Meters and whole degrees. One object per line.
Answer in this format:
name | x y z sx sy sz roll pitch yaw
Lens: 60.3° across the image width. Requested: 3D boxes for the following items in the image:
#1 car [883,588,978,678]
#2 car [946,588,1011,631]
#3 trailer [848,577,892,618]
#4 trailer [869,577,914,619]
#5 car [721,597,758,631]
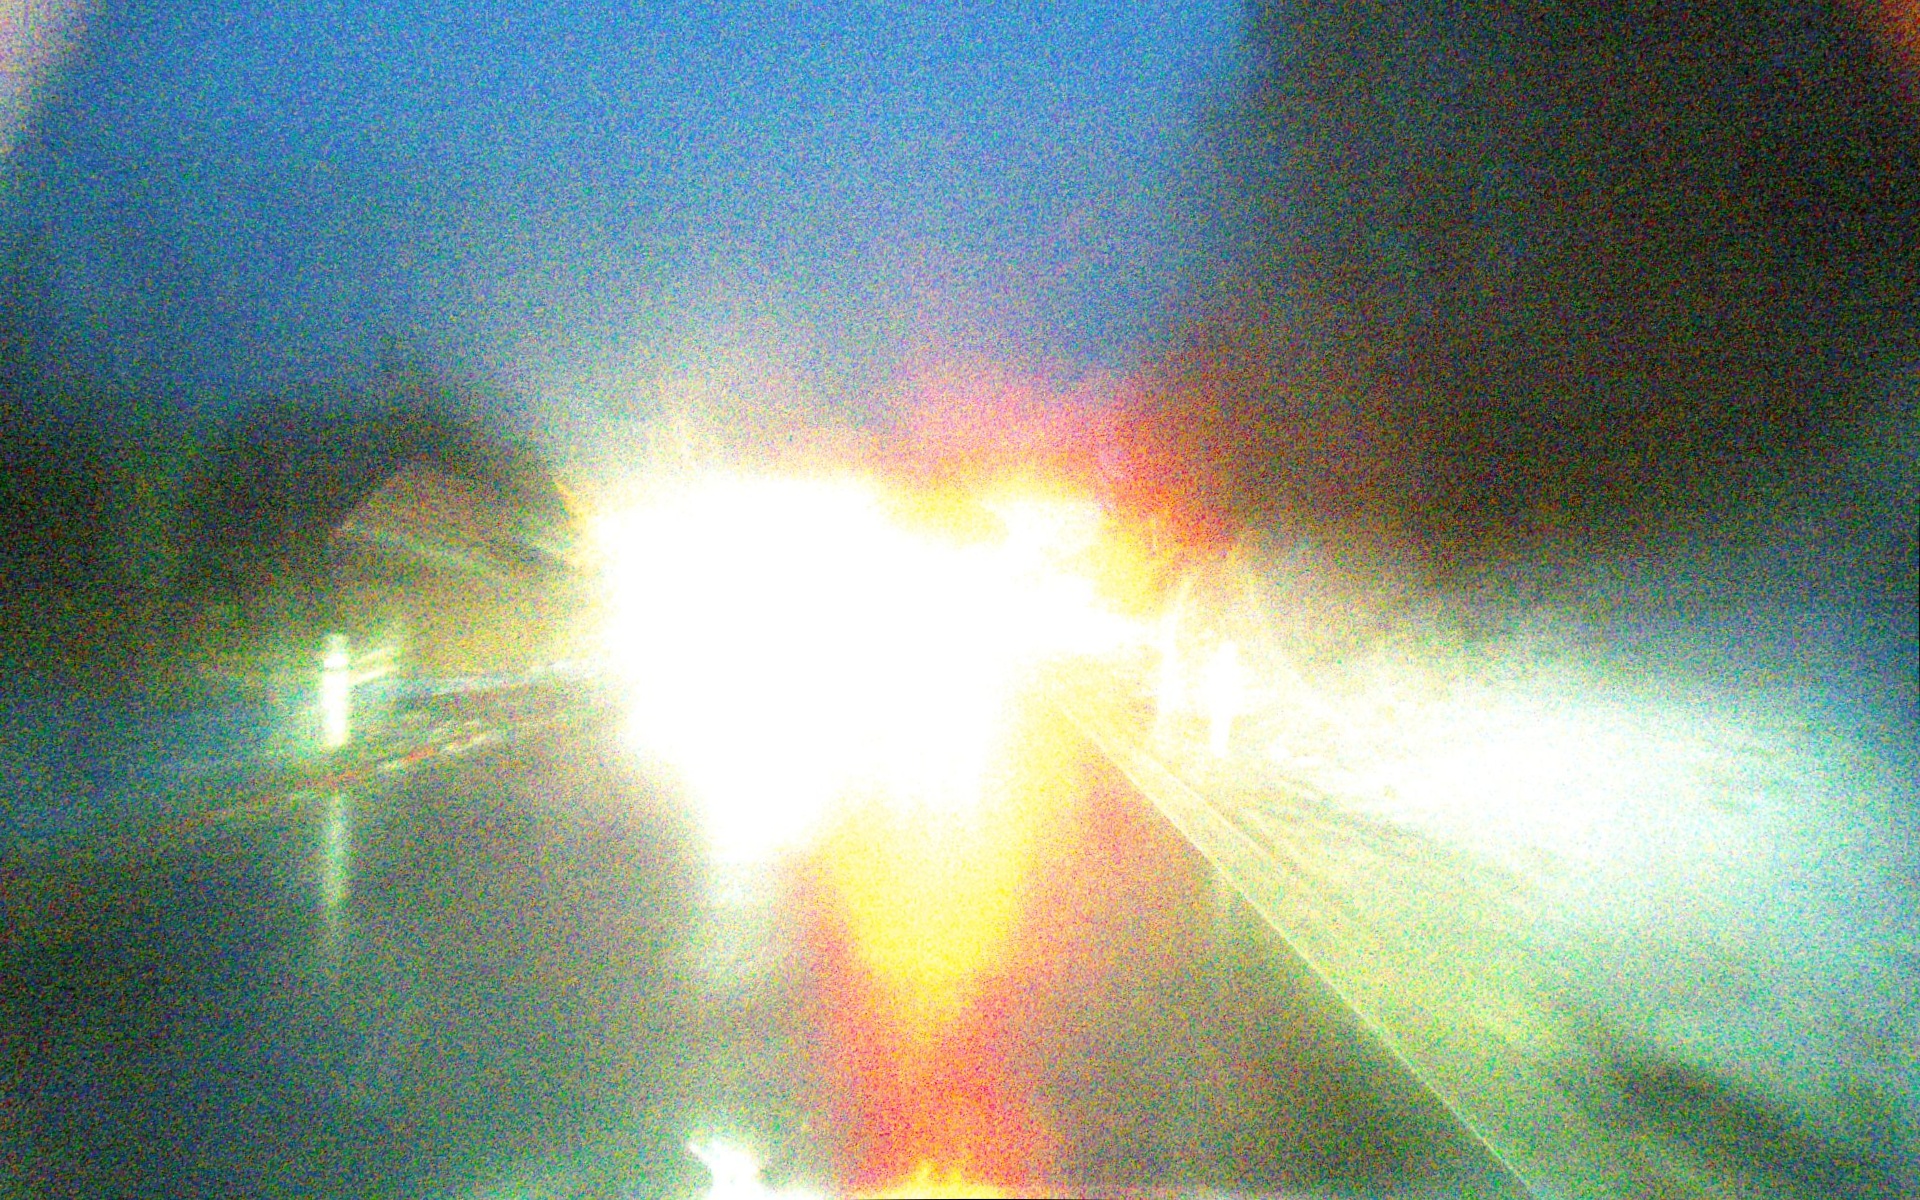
car | -0.579 0.607 32.418 1.765 1.657 3.614 0 0 -1
car | 0.864 0.464 81.269 1.850 2.076 4.367 1 0 -19
trailer | -5.580 -0.154 101.933 1.604 2.406 4.631 2 0 -17
trailer | -4.056 -0.130 97.246 1.579 2.393 4.411 2 0 -16
car | -12.022 0.754 90.212 1.940 1.809 3.992 0 0 -8
